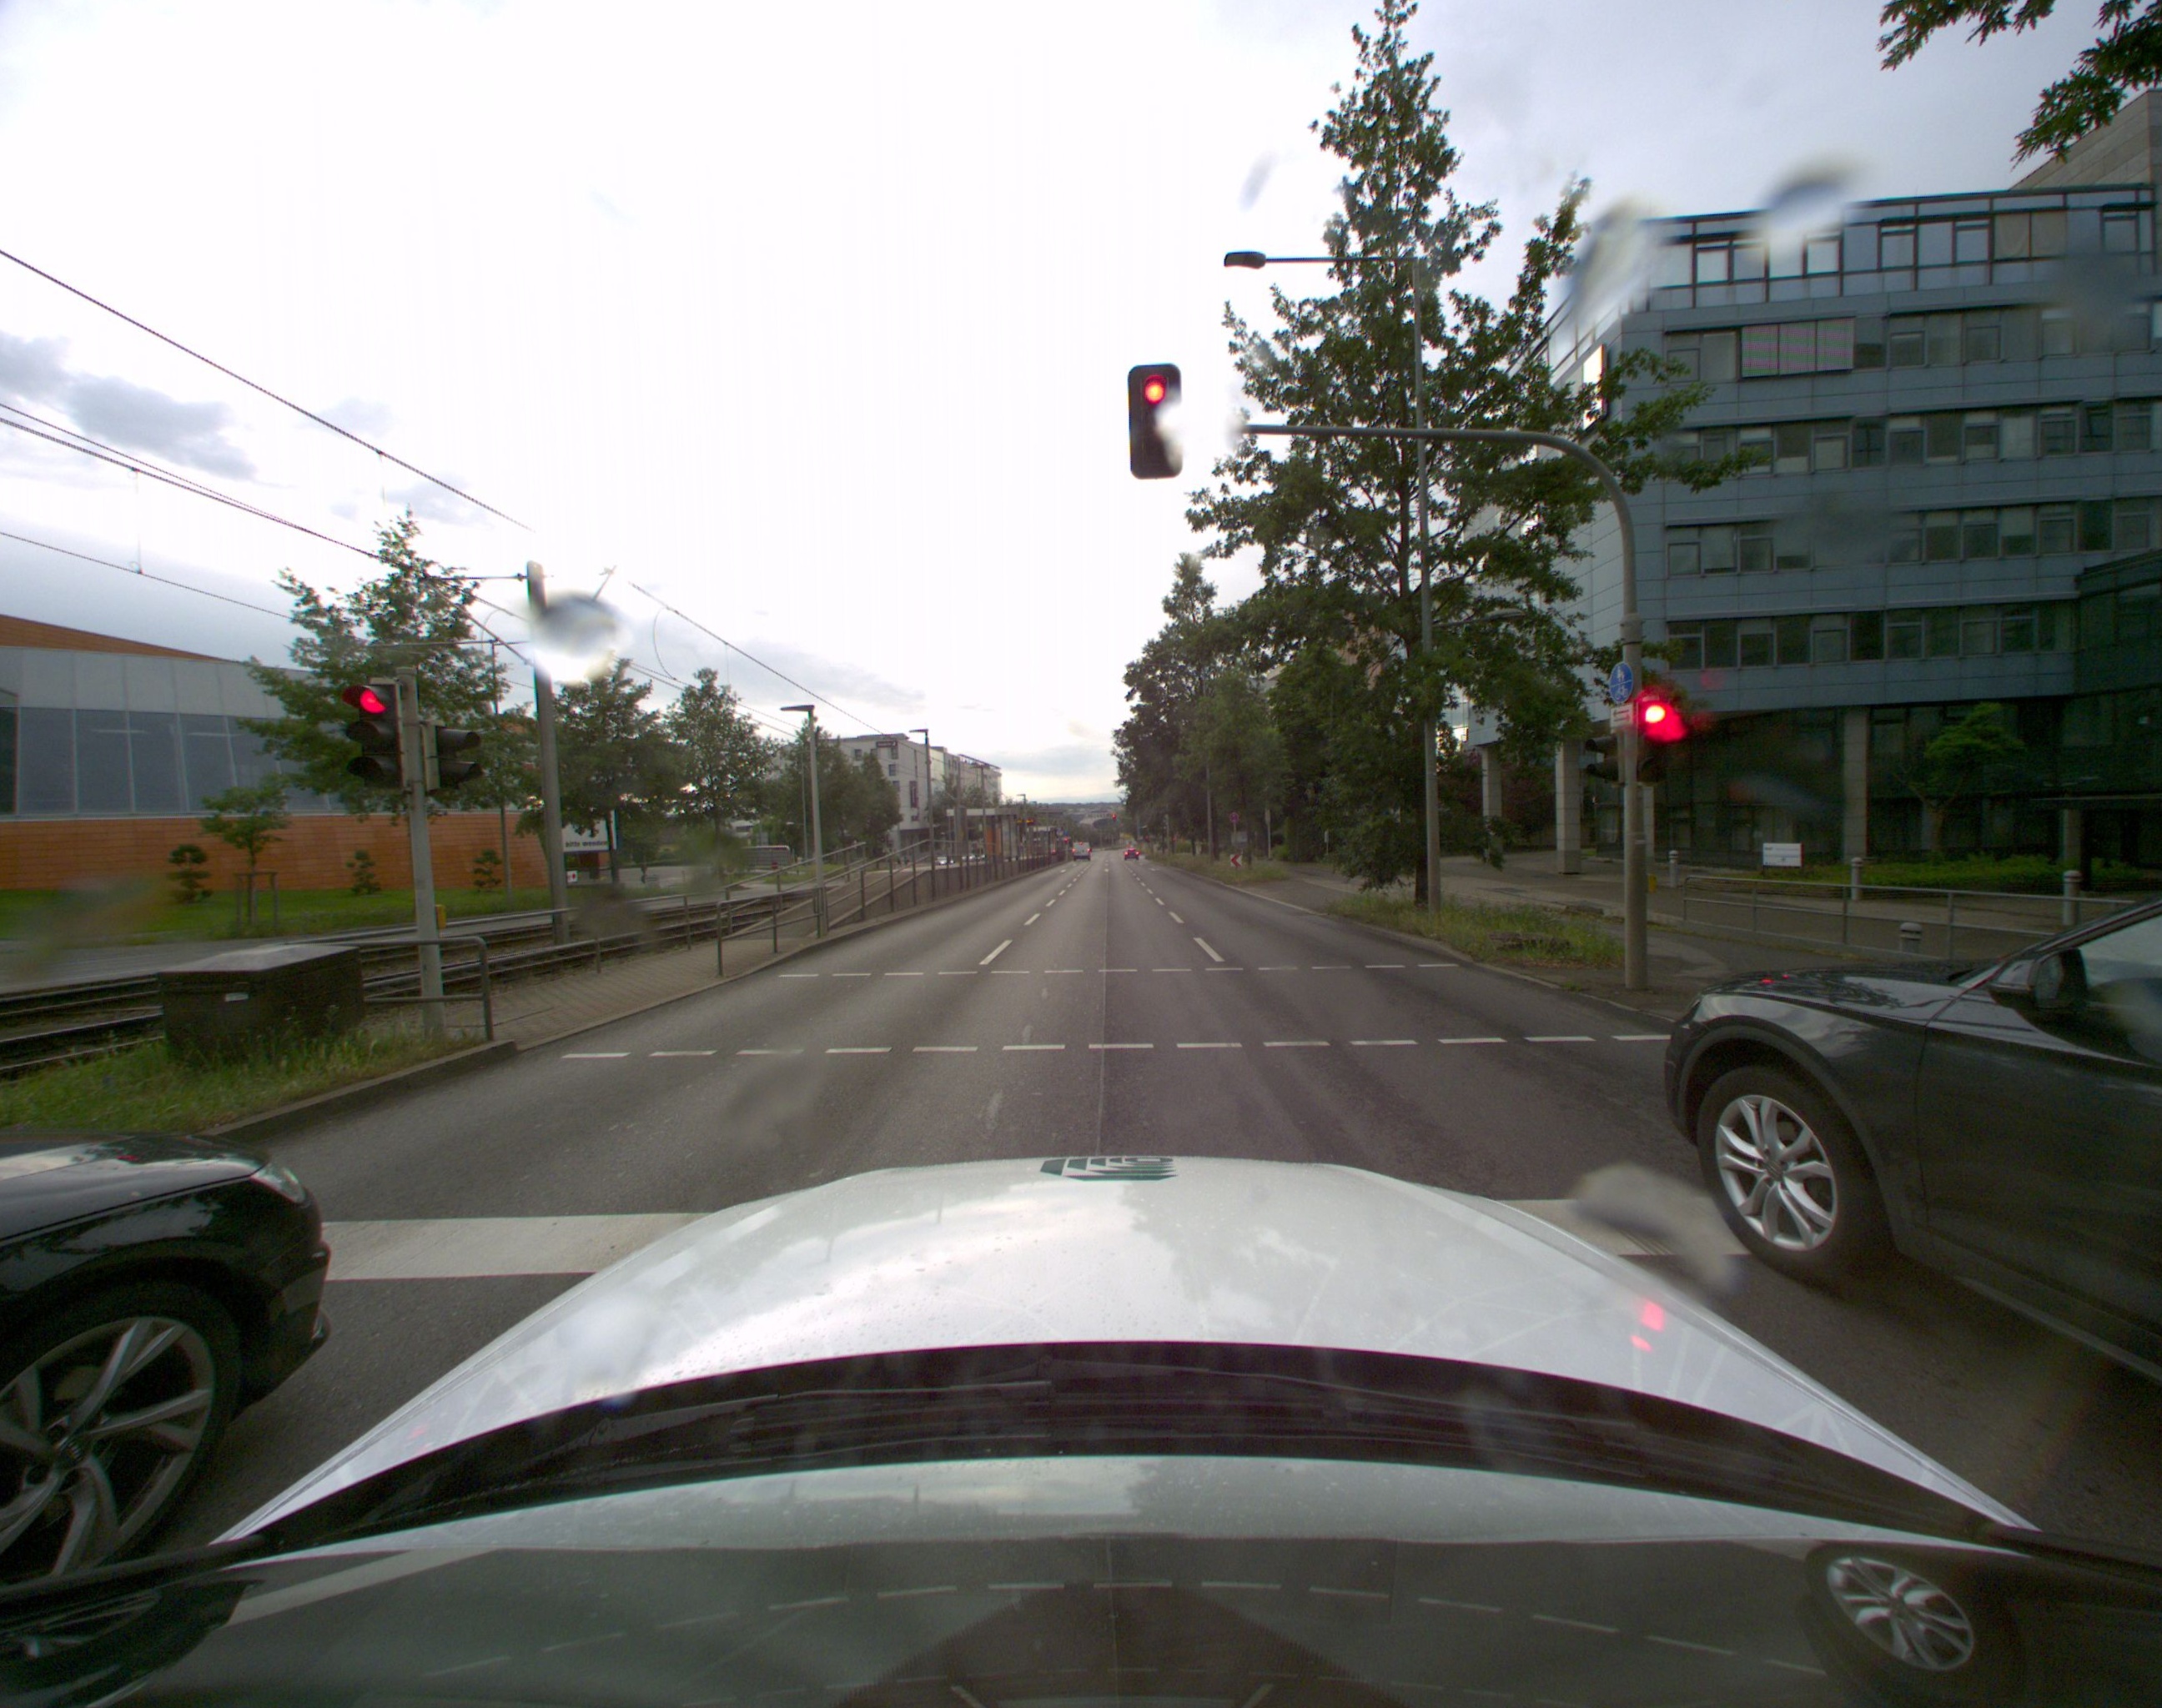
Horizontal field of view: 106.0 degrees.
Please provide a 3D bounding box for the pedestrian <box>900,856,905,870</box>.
[{"bbox_3d":[-23.631,1.180,107.875,0.473,1.920,0.490,-1,0,1],"label":"pedestrian"}]

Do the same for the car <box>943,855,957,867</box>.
[{"bbox_3d":[-16.831,0.870,104.623,1.651,1.436,3.865,-4,0,-11],"label":"car"}]

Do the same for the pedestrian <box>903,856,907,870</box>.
[{"bbox_3d":[-23.167,1.167,107.201,0.473,1.920,0.490,-1,0,1],"label":"pedestrian"}]

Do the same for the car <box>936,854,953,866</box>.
[{"bbox_3d":[-18.636,0.835,111.178,1.655,1.436,3.856,-4,0,-18],"label":"car"}]

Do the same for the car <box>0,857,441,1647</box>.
[{"bbox_3d":[-2.957,0.773,0.286,1.774,1.466,4.515,-1,0,2],"label":"car"}]

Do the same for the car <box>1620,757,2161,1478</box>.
[{"bbox_3d":[3.297,0.573,1.441,1.811,1.612,4.472,-1,0,2],"label":"car"}]

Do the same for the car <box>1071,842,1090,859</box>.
[{"bbox_3d":[-0.034,-0.468,102.307,2.085,2.053,4.608,-1,0,2],"label":"car"}]

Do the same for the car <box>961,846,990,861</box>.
[{"bbox_3d":[-15.371,-0.030,118.643,1.738,2.013,4.024,-1,1,45],"label":"car"}]

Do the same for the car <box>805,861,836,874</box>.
[{"bbox_3d":[-31.088,1.632,97.220,3.341,1.387,1.440,-1,0,18],"label":"car"}]

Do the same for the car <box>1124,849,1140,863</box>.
[{"bbox_3d":[6.434,0.228,102.823,1.767,1.691,3.847,-1,0,2],"label":"car"}]
